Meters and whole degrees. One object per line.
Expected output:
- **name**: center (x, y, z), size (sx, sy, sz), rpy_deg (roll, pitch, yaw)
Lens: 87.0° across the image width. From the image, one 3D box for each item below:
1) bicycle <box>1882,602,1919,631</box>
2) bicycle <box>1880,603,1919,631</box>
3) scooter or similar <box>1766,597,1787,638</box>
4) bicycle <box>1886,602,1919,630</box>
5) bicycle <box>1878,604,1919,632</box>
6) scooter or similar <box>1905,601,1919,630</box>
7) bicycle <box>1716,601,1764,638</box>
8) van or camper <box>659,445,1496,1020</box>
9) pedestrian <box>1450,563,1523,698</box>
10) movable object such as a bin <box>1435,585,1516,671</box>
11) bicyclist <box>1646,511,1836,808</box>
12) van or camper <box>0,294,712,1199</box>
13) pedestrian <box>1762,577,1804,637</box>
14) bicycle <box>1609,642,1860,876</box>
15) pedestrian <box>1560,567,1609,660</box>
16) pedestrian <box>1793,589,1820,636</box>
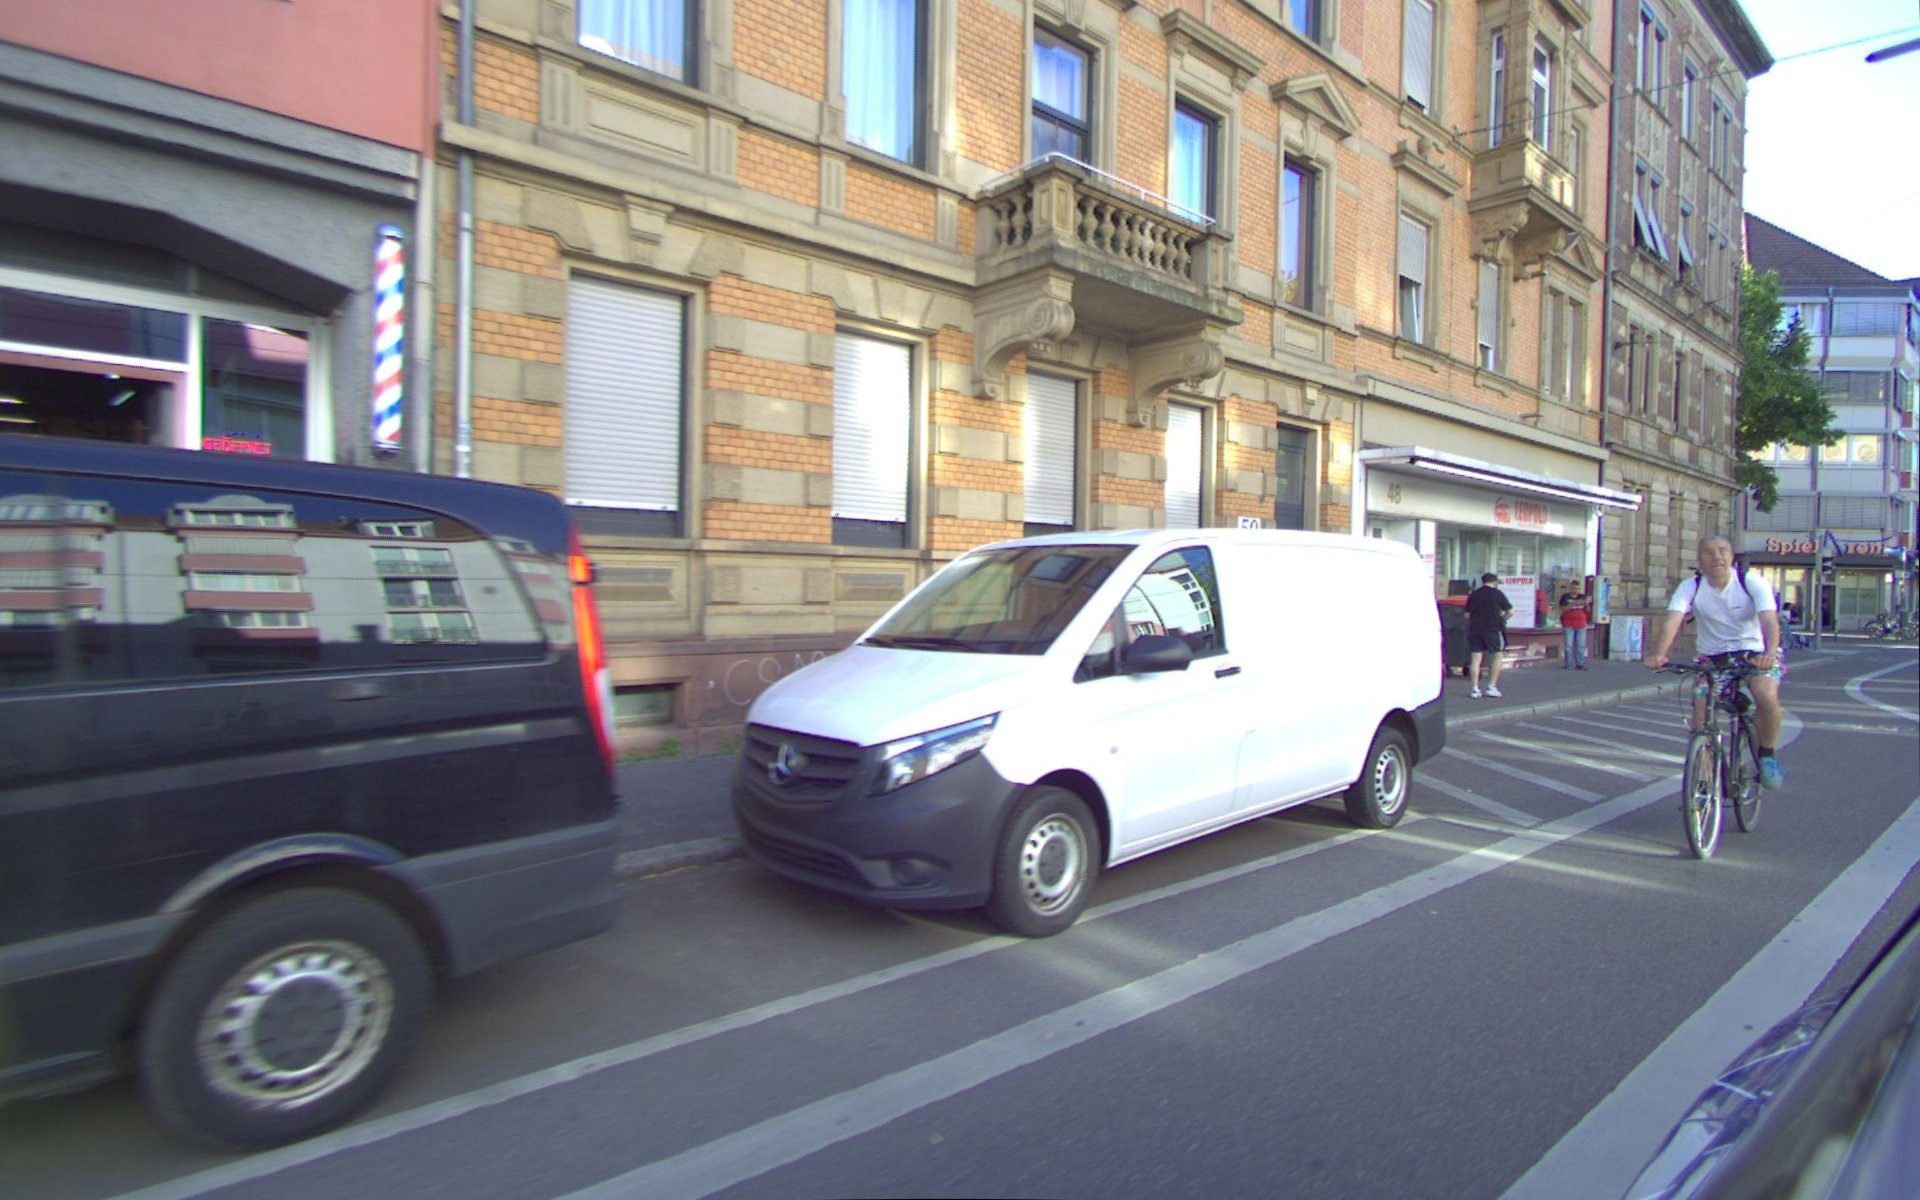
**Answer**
- **bicycle**: center (40.300, 0.704, 42.733), size (0.617, 1.180, 1.949), rpy_deg (1, 2, -41)
- **bicycle**: center (39.751, 0.719, 42.223), size (0.554, 1.120, 1.949), rpy_deg (1, 2, -41)
- **scooter or similar**: center (27.135, 0.558, 33.642), size (0.389, 1.305, 1.504), rpy_deg (2, 1, 34)
- **bicycle**: center (41.225, 0.699, 43.569), size (0.554, 1.120, 1.949), rpy_deg (1, 2, -41)
- **bicycle**: center (39.287, 0.757, 41.786), size (0.554, 1.120, 1.949), rpy_deg (1, 2, -41)
- **scooter or similar**: center (41.934, 0.690, 43.720), size (0.581, 1.244, 1.482), rpy_deg (1, 3, -39)
- **bicycle**: center (25.927, 0.627, 33.664), size (0.437, 1.129, 1.810), rpy_deg (1, 1, 9)
- **van or camper**: center (1.139, 0.436, 6.139), size (5.380, 2.062, 1.934), rpy_deg (-1, 1, -41)
- **pedestrian**: center (7.397, 0.399, 14.218), size (0.743, 1.836, 0.674), rpy_deg (0, 1, -41)
- **movable object such as a bin**: center (8.596, 0.441, 16.866), size (1.277, 1.364, 0.777), rpy_deg (0, 1, -42)
- **bicyclist**: center (4.804, 0.328, 6.231), size (0.909, 1.676, 0.657), rpy_deg (0, 0, -33)
- **van or camper**: center (-3.429, 0.362, 2.395), size (5.239, 2.071, 1.973), rpy_deg (0, 0, -42)
- **pedestrian**: center (25.581, 0.209, 31.462), size (0.843, 1.830, 0.866), rpy_deg (2, 0, 31)
- **bicycle**: center (4.813, 0.878, 6.237), size (2.056, 1.153, 0.649), rpy_deg (0, 1, -36)
- **pedestrian**: center (12.020, 0.245, 19.490), size (0.576, 1.750, 0.471), rpy_deg (2, 1, -4)
- **pedestrian**: center (25.802, 0.374, 30.855), size (0.576, 1.432, 0.569), rpy_deg (0, 0, 33)
